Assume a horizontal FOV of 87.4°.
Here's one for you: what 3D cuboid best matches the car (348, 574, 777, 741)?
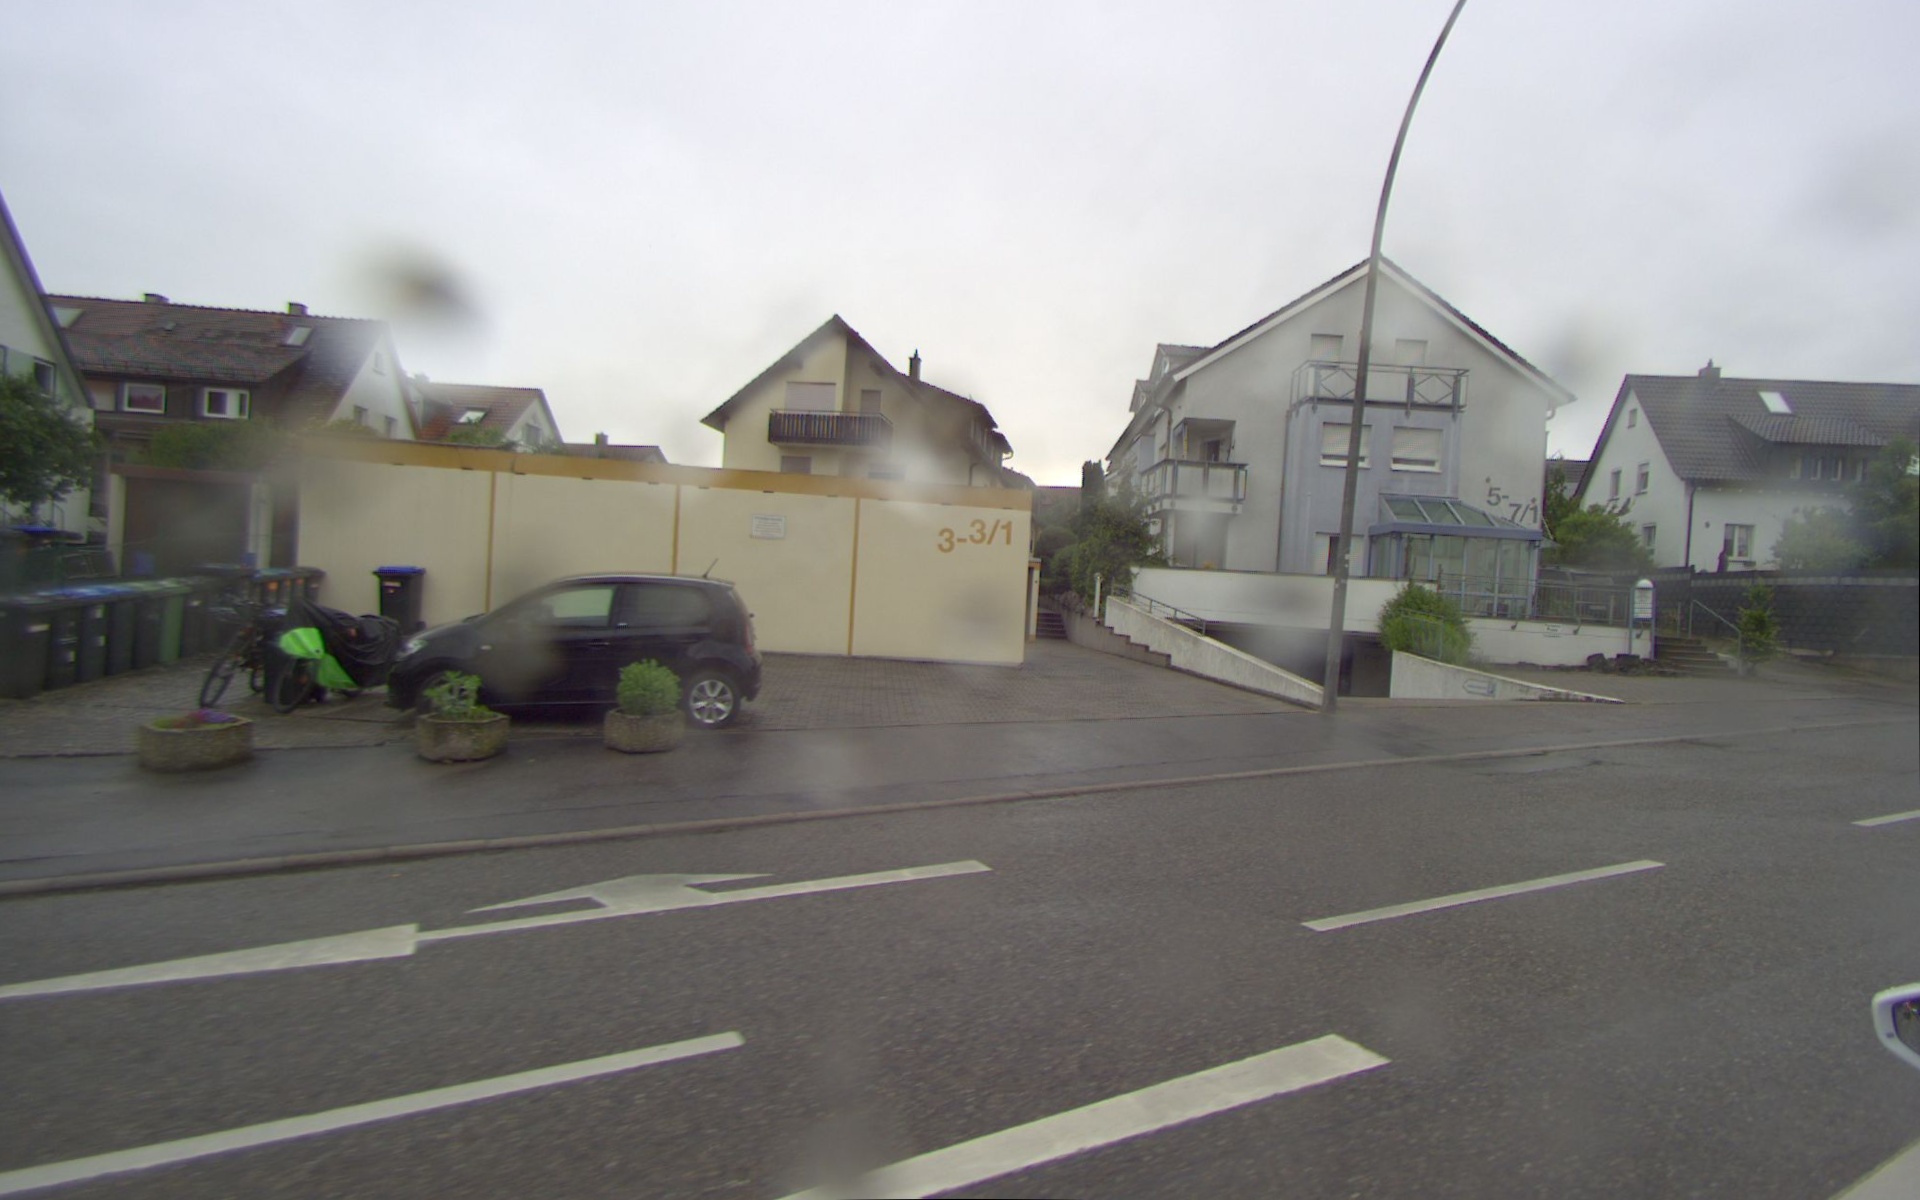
[{"bbox_3d":[-3.807,0.526,10.291,3.761,1.461,1.903,1,2,-12],"label":"car"}]

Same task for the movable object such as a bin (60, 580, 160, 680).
[{"bbox_3d":[-9.207,0.327,10.900,0.595,1.046,0.638,1,-1,-16],"label":"movable object such as a bin"}]

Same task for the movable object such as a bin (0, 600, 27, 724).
[{"bbox_3d":[-8.610,0.543,8.647,0.595,1.046,0.638,1,4,-16],"label":"movable object such as a bin"}]

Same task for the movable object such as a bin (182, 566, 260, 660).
[{"bbox_3d":[-9.556,0.159,13.012,0.595,1.146,0.637,1,5,-16],"label":"movable object such as a bin"}]

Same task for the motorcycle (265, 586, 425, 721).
[{"bbox_3d":[-6.353,0.496,10.514,0.767,1.129,2.111,3,4,-13],"label":"motorcycle"}]

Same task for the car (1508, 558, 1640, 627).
[{"bbox_3d":[20.272,-0.304,33.400,1.960,1.806,4.000,3,6,4],"label":"car"}]

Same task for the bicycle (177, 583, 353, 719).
[{"bbox_3d":[-7.060,0.461,10.336,0.725,1.129,2.098,3,3,-13],"label":"bicycle"}]

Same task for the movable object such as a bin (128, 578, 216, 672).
[{"bbox_3d":[-9.337,0.285,11.925,0.595,1.046,0.637,1,5,-16],"label":"movable object such as a bin"}]

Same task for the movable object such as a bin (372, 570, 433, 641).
[{"bbox_3d":[-8.762,0.090,15.795,0.612,1.093,0.671,1,-1,-7],"label":"movable object such as a bin"}]

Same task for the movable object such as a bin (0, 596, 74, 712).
[{"bbox_3d":[-8.818,0.487,9.369,0.595,1.046,0.638,1,-1,-16],"label":"movable object such as a bin"}]

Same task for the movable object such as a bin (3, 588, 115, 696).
[{"bbox_3d":[-9.028,0.412,10.090,0.595,1.046,0.638,1,-1,-16],"label":"movable object such as a bin"}]
